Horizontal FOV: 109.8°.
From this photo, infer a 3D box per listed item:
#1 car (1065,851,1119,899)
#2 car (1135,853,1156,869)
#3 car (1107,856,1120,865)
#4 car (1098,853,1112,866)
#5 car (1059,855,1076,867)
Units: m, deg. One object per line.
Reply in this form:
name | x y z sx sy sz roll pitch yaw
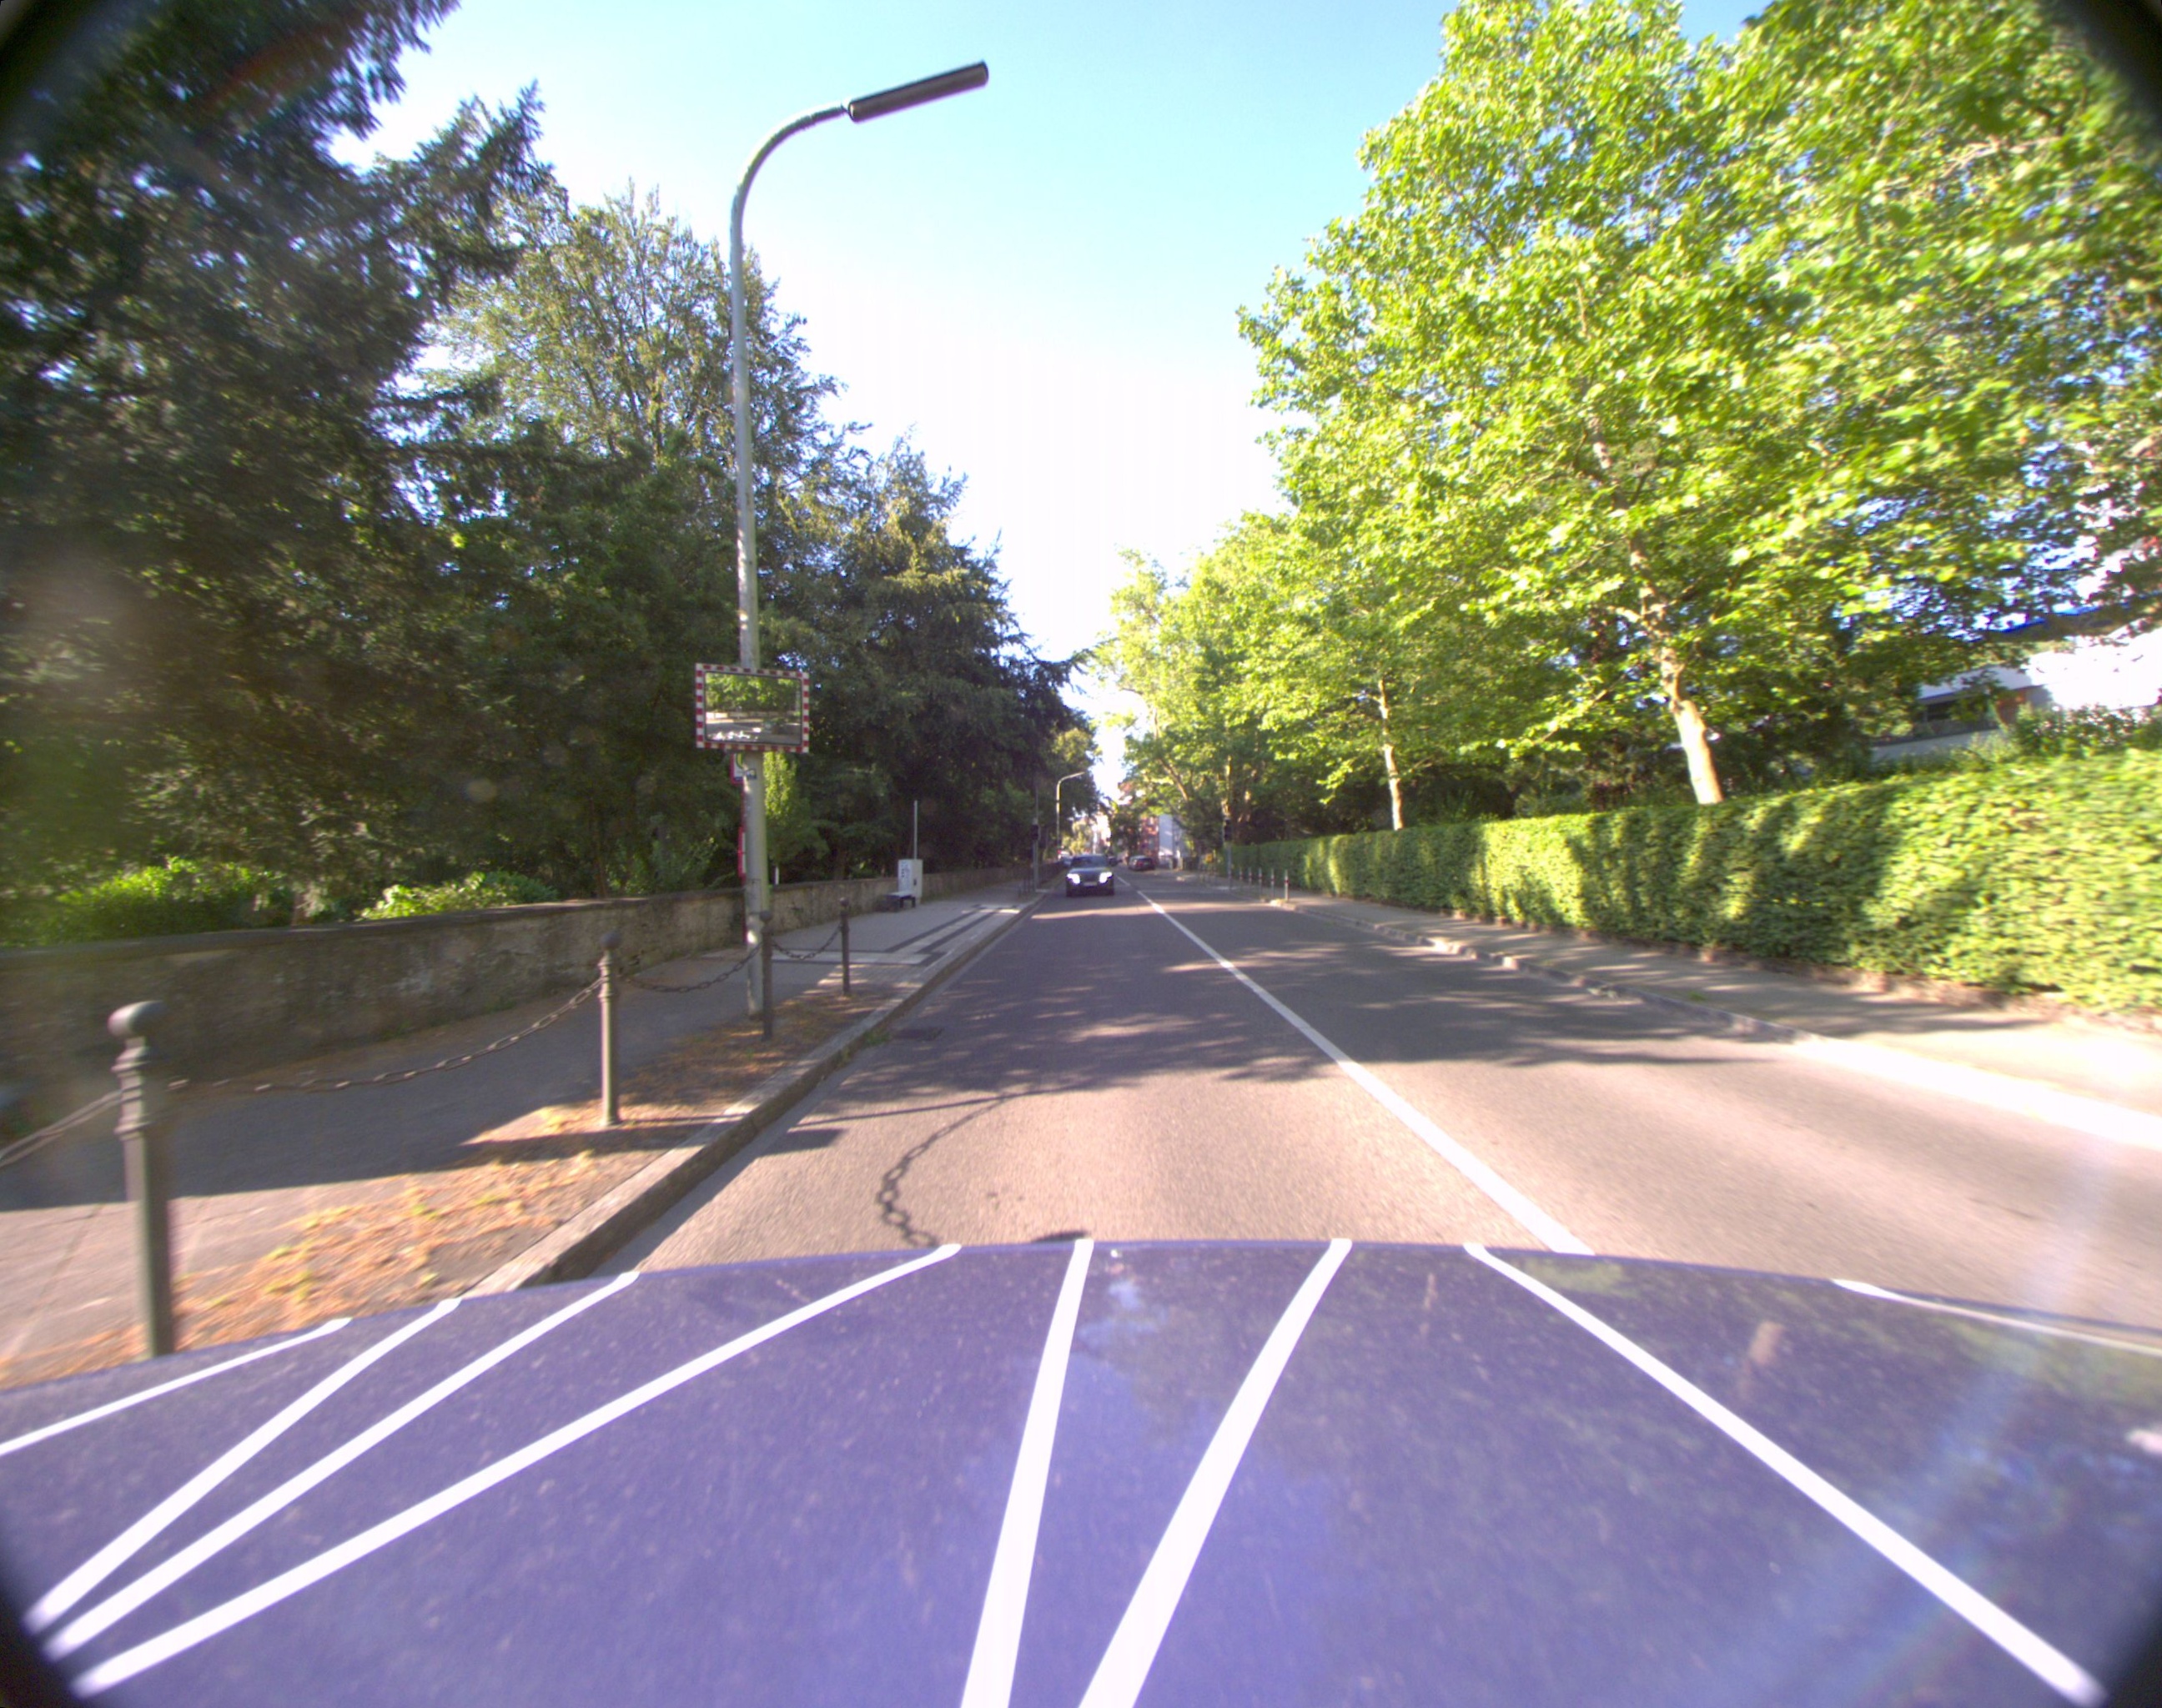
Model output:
car | 0.506 0.772 29.752 1.936 1.676 4.433 -1 0 2
car | 6.326 0.647 74.915 1.689 1.425 3.616 -4 0 -1
car | 5.627 1.080 131.949 1.824 1.375 3.933 2 1 -4
car | 3.687 0.787 117.952 1.999 1.957 4.776 0 0 -2
car | -1.689 0.861 93.257 1.824 1.375 3.933 2 1 -4
